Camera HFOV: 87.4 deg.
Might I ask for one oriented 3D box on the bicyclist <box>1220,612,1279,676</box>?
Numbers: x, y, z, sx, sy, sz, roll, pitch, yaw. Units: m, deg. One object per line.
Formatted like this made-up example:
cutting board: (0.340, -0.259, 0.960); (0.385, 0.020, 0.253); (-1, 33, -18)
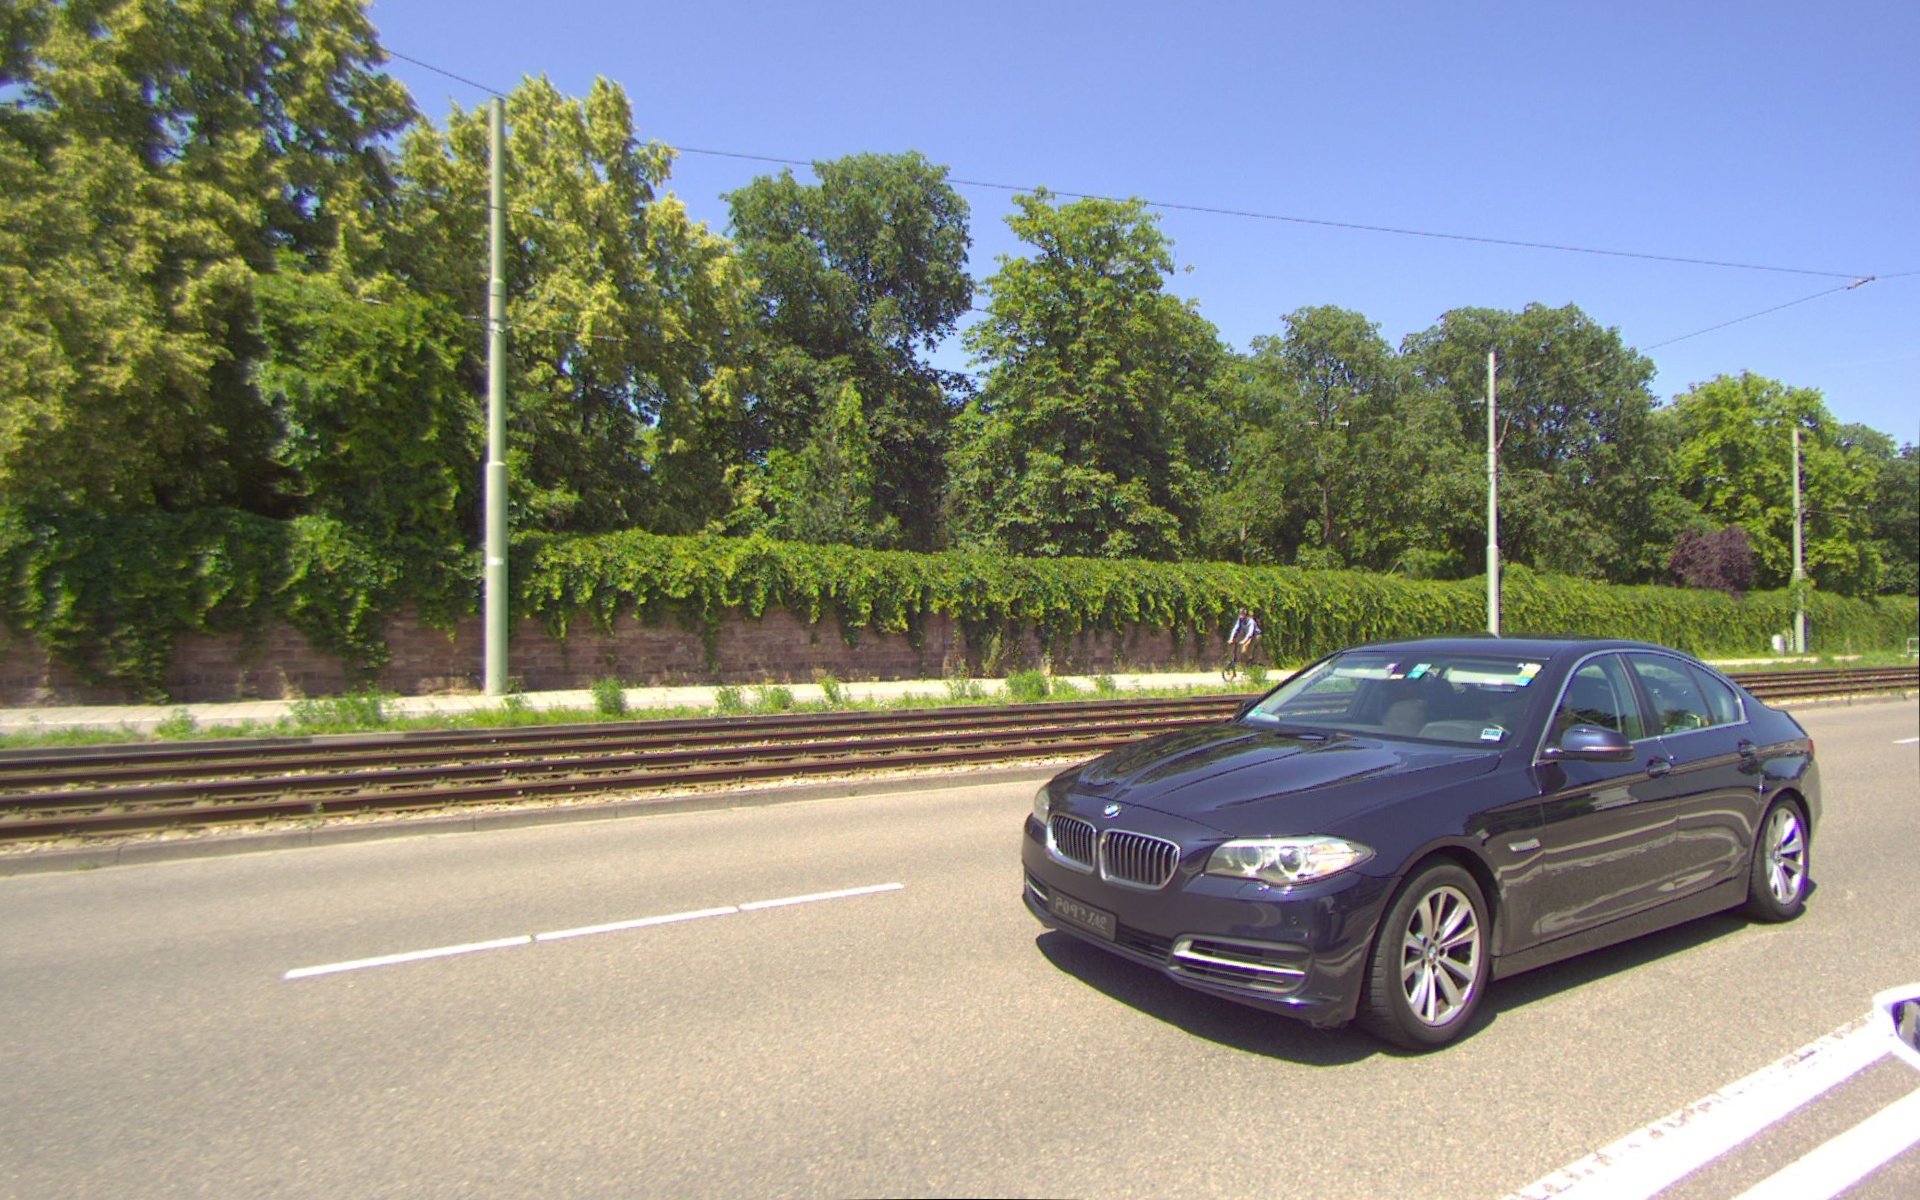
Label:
bicyclist: (7.060, 1.055, 24.509); (0.988, 1.506, 0.990); (1, -1, -28)

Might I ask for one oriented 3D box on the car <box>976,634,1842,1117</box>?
car: (2.394, 0.895, 4.965); (4.398, 1.418, 1.784); (1, -1, -32)

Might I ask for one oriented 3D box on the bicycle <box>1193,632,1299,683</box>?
bicycle: (6.976, 1.373, 24.453); (2.652, 1.171, 0.825); (1, -1, -28)
